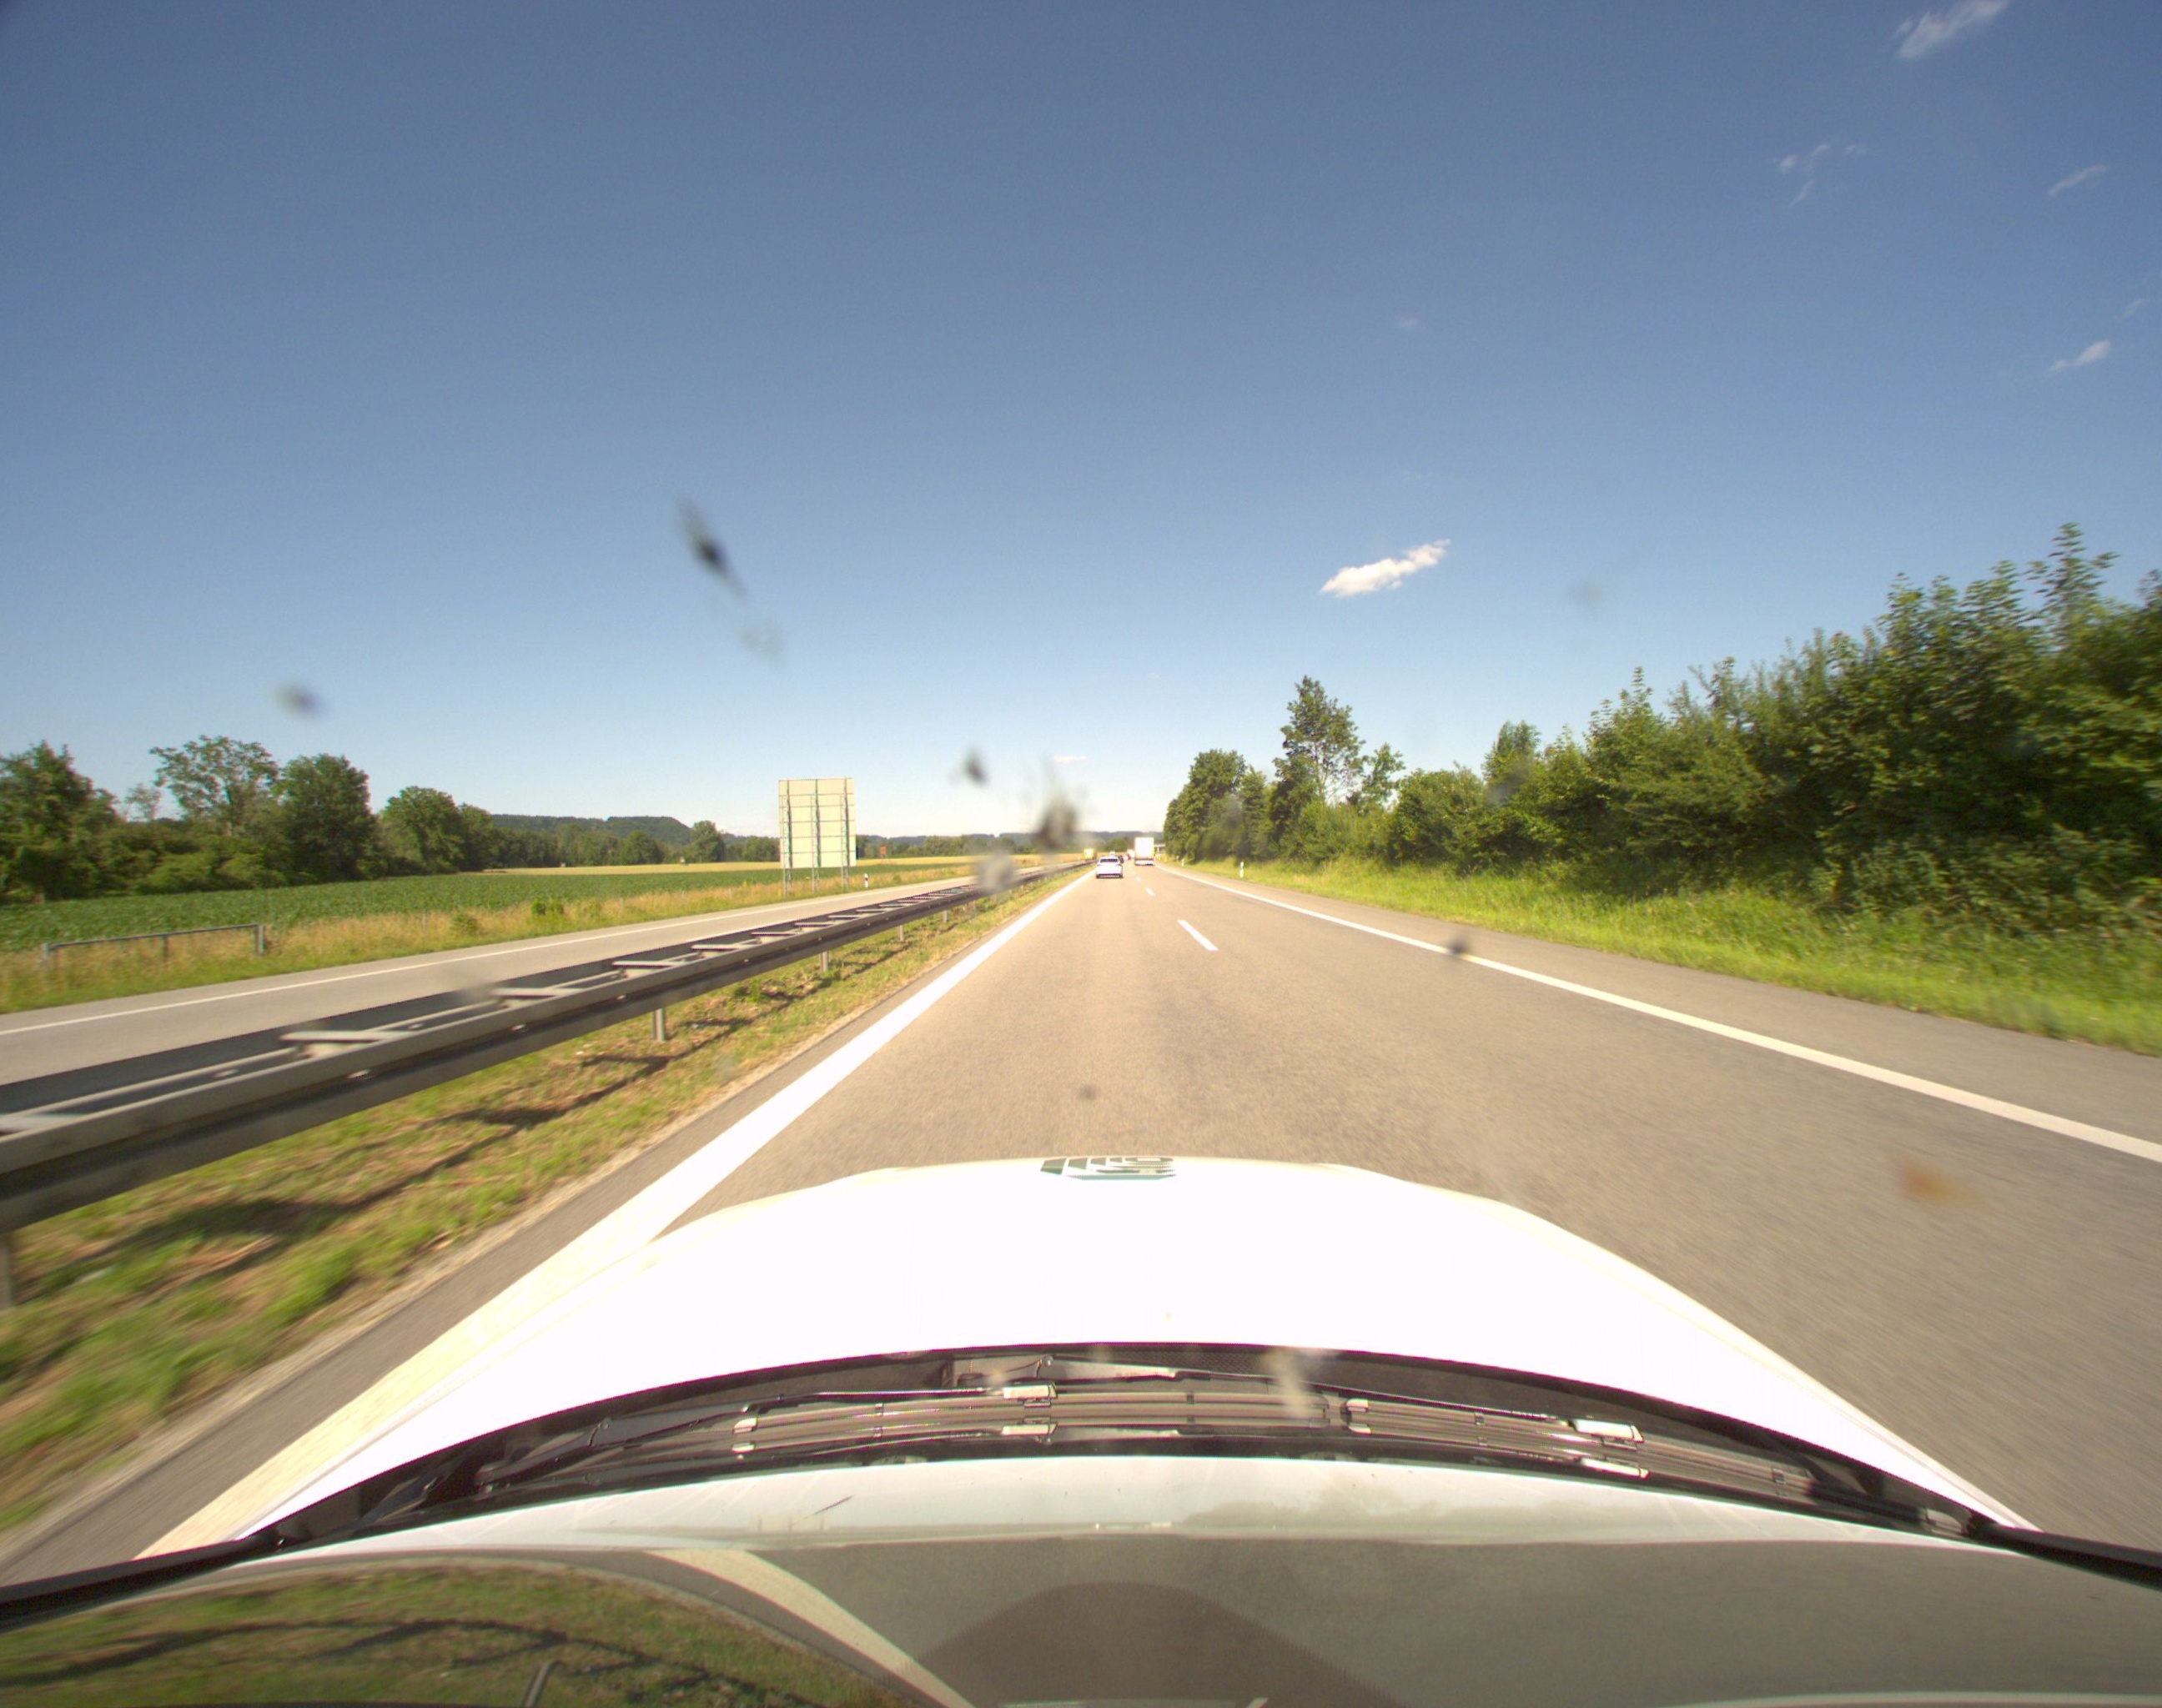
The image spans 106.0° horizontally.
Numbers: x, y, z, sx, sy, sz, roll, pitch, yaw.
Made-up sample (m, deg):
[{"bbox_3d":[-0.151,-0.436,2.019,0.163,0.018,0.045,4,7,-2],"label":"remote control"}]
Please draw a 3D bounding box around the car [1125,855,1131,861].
[{"bbox_3d":[12.790,1.051,220.859,1.764,1.421,4.368,-1,0,3],"label":"car"}]

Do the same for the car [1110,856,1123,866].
[{"bbox_3d":[4.864,0.944,112.625,1.765,1.421,4.497,-1,0,2],"label":"car"}]

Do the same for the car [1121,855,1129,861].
[{"bbox_3d":[10.870,1.049,200.348,1.764,1.421,4.368,-1,0,3],"label":"car"}]

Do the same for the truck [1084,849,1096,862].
[{"bbox_3d":[2.578,0.396,235.195,2.724,3.383,9.241,-4,0,3],"label":"truck"}]

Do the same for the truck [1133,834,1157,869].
[{"bbox_3d":[9.113,-0.355,116.312,3.138,4.612,8.914,-2,0,4],"label":"truck"}]

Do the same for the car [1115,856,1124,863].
[{"bbox_3d":[7.469,1.017,158.016,1.764,1.421,4.368,-1,0,3],"label":"car"}]

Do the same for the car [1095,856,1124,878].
[{"bbox_3d":[1.941,0.834,55.309,1.833,1.421,5.257,0,0,2],"label":"car"}]
